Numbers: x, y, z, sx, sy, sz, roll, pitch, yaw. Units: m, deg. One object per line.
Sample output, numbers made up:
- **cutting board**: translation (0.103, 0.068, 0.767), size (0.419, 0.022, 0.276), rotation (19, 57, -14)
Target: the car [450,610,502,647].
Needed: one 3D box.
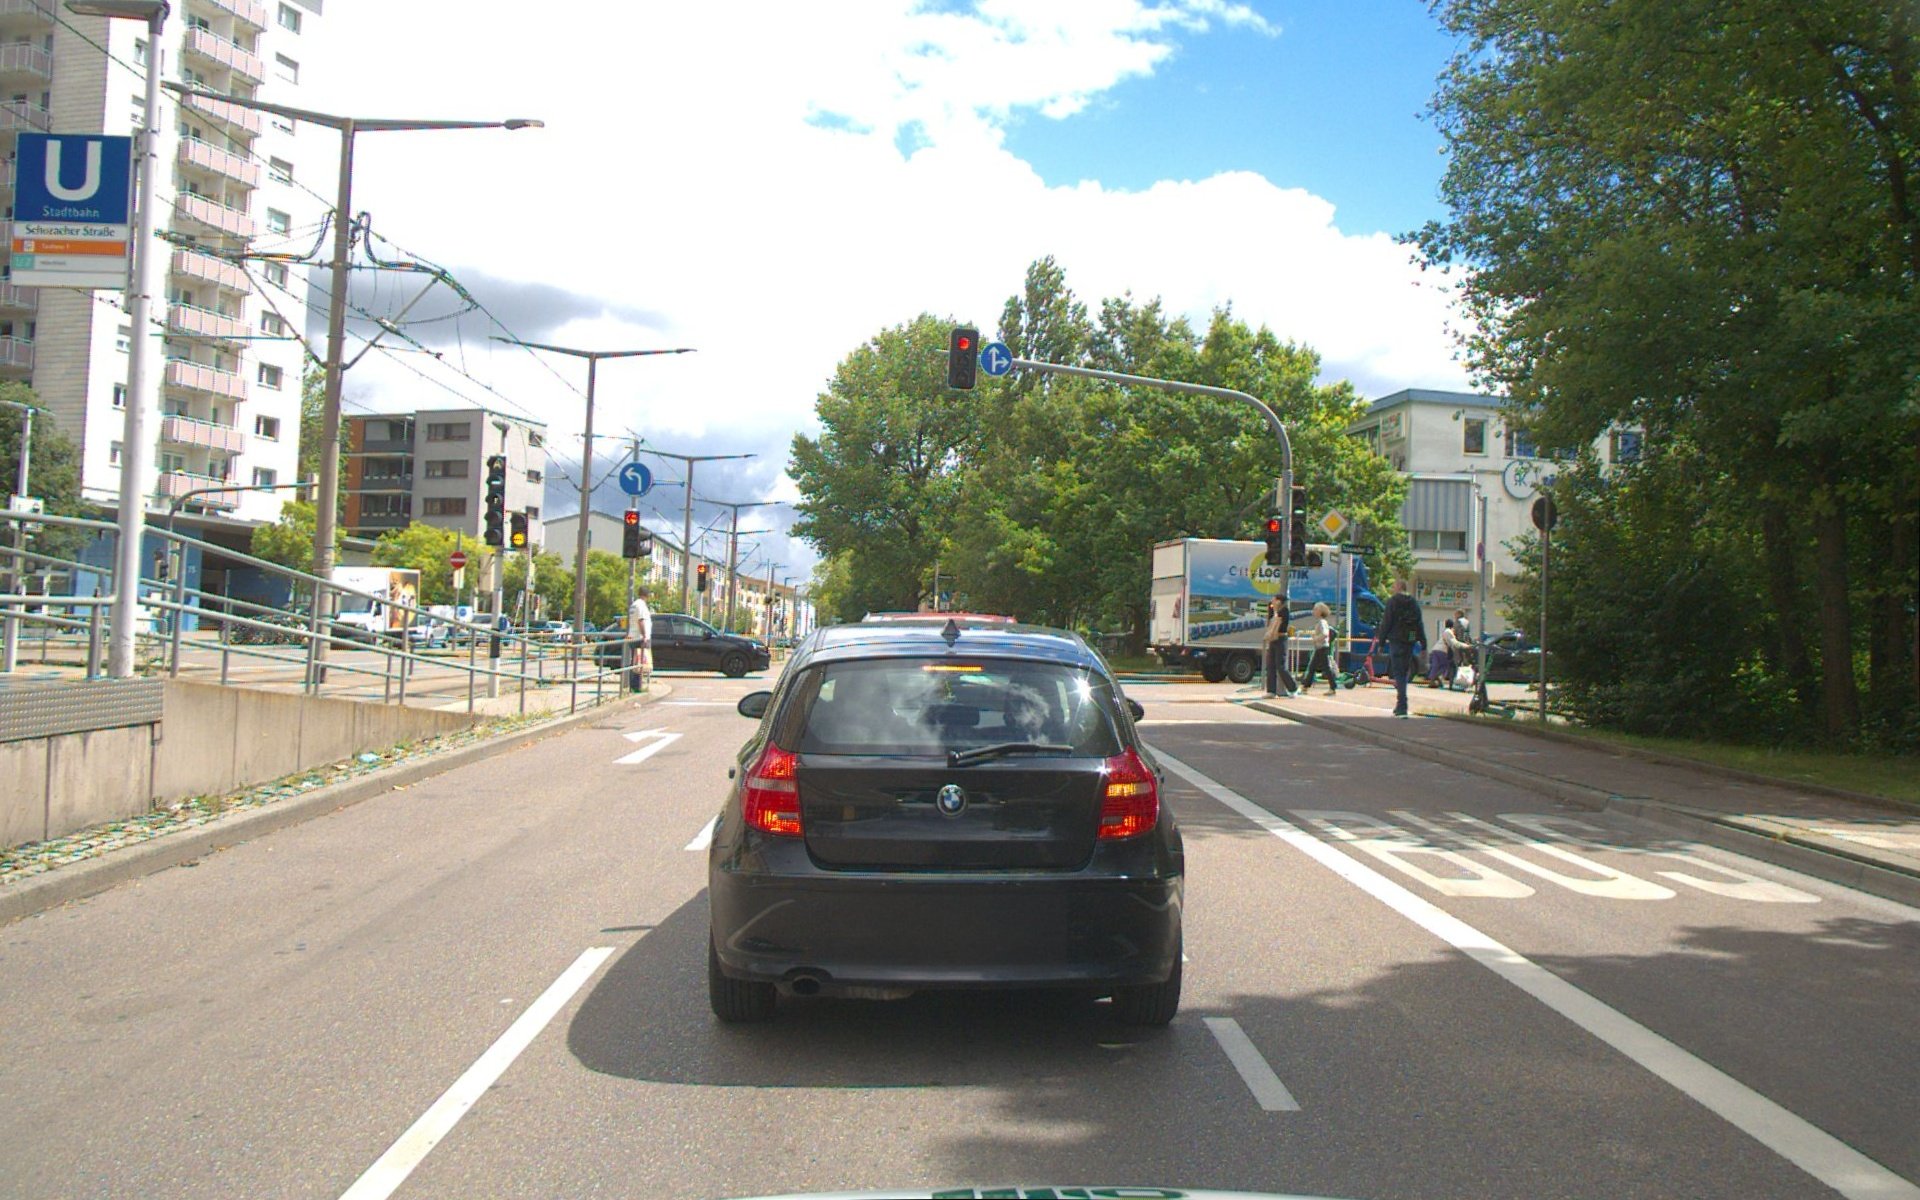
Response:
- **car**: translation (-24.327, 1.422, 83.196), size (1.559, 1.787, 3.773), rotation (2, -1, -2)

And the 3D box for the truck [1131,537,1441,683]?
- **truck**: translation (8.075, 0.283, 41.168), size (7.142, 3.407, 2.600), rotation (1, -1, -13)

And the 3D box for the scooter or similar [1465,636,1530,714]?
- **scooter or similar**: translation (9.324, 1.297, 28.692), size (0.872, 1.251, 0.454), rotation (6, -1, -1)

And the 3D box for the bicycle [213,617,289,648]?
- **bicycle**: translation (-26.420, 1.225, 61.652), size (2.528, 1.026, 0.748), rotation (3, -3, -29)

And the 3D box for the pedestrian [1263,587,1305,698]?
- **pedestrian**: translation (5.659, 0.733, 28.917), size (0.622, 1.909, 0.518), rotation (1, -1, 4)

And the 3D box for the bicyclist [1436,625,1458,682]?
- **bicyclist**: translation (10.397, 1.140, 35.307), size (0.390, 1.177, 0.503), rotation (3, 0, 19)

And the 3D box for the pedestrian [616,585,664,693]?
- **pedestrian**: translation (-5.316, 0.641, 27.504), size (0.674, 1.764, 0.687), rotation (1, -1, -4)

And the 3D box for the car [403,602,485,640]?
- **car**: translation (-27.789, 1.135, 89.069), size (3.893, 2.009, 1.630), rotation (1, -1, -43)

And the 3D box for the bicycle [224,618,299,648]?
- **bicycle**: translation (-26.542, 1.246, 62.819), size (2.528, 1.026, 0.748), rotation (3, -3, -29)

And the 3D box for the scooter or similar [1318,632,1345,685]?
- **scooter or similar**: translation (7.866, 1.224, 34.994), size (0.536, 1.082, 1.263), rotation (1, 0, 13)

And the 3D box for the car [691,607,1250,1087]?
- **car**: translation (0.010, 0.758, 6.710), size (1.666, 1.424, 3.419), rotation (1, 0, -1)

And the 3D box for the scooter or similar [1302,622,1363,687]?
- **scooter or similar**: translation (7.424, 1.078, 33.026), size (1.087, 1.257, 0.539), rotation (1, -1, 1)

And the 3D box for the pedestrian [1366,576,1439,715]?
- **pedestrian**: translation (6.235, 0.626, 23.345), size (0.779, 1.909, 1.014), rotation (1, -1, 2)

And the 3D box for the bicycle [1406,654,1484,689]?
- **bicycle**: translation (10.363, 1.521, 35.324), size (1.553, 0.620, 0.534), rotation (3, 0, 20)

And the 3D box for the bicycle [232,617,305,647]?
- **bicycle**: translation (-26.714, 1.248, 63.918), size (2.528, 1.026, 0.748), rotation (3, -3, -29)

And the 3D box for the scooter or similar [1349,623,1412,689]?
- **scooter or similar**: translation (8.617, 1.136, 33.934), size (1.127, 1.294, 0.555), rotation (2, -1, 1)

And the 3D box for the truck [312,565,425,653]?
- **truck**: translation (-23.041, 0.361, 64.791), size (2.237, 3.172, 7.311), rotation (2, -1, -5)

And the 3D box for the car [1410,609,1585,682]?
- **car**: translation (15.623, 1.312, 48.172), size (4.451, 2.049, 1.996), rotation (0, 0, -9)

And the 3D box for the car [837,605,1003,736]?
- **car**: translation (-0.483, 0.816, 21.075), size (1.862, 1.447, 4.538), rotation (1, 0, -1)

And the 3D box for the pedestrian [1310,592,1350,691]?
- **pedestrian**: translation (6.856, 0.761, 30.686), size (0.622, 1.797, 0.518), rotation (1, -1, 4)

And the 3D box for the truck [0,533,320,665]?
- **truck**: translation (-19.603, -0.032, 40.099), size (7.113, 2.991, 2.762), rotation (1, -1, 8)

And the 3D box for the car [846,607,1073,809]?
- **car**: translation (-0.025, 0.790, 13.612), size (1.605, 1.424, 3.419), rotation (1, 0, -1)

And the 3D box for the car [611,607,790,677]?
- **car**: translation (-5.971, 0.958, 37.916), size (3.919, 1.512, 1.840), rotation (1, 0, -14)

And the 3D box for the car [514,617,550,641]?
- **car**: translation (-28.815, 1.947, 111.442), size (1.559, 1.500, 3.773), rotation (2, -1, -2)

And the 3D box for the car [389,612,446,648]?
- **car**: translation (-23.771, 1.308, 72.595), size (1.379, 1.486, 3.772), rotation (2, -1, -3)

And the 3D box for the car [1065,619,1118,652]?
- **car**: translation (7.170, 1.945, 90.755), size (1.830, 1.691, 3.988), rotation (2, -1, -12)

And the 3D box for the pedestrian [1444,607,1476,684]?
- **pedestrian**: translation (11.396, 1.028, 37.685), size (0.643, 1.743, 0.462), rotation (0, -1, 22)
